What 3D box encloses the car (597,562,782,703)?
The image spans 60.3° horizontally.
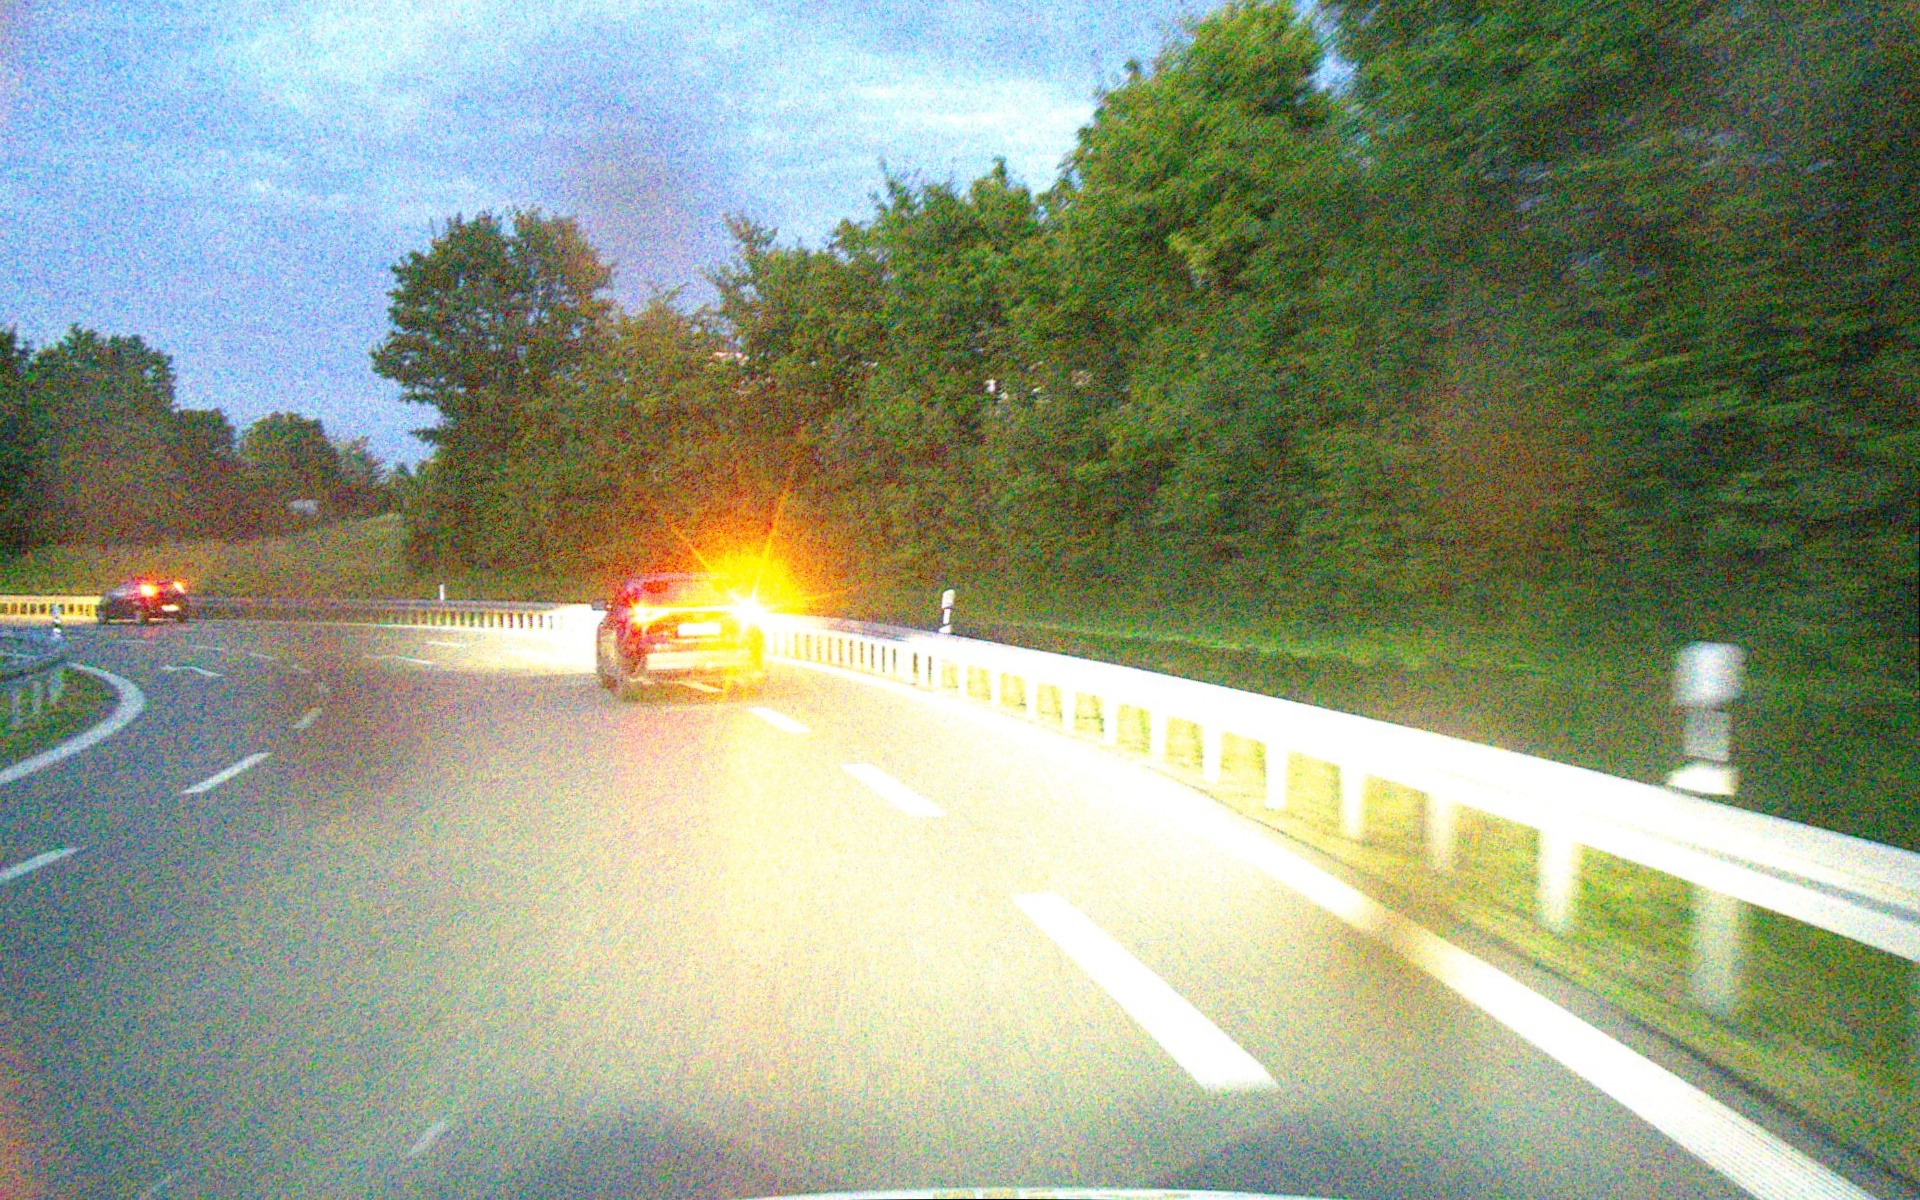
[{"bbox_3d":[-3.771,0.370,22.421,1.961,1.688,4.295,-1,1,-16],"label":"car"}]

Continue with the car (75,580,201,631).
[{"bbox_3d":[-28.303,0.189,56.923,3.912,1.626,1.997,2,0,29],"label":"car"}]
